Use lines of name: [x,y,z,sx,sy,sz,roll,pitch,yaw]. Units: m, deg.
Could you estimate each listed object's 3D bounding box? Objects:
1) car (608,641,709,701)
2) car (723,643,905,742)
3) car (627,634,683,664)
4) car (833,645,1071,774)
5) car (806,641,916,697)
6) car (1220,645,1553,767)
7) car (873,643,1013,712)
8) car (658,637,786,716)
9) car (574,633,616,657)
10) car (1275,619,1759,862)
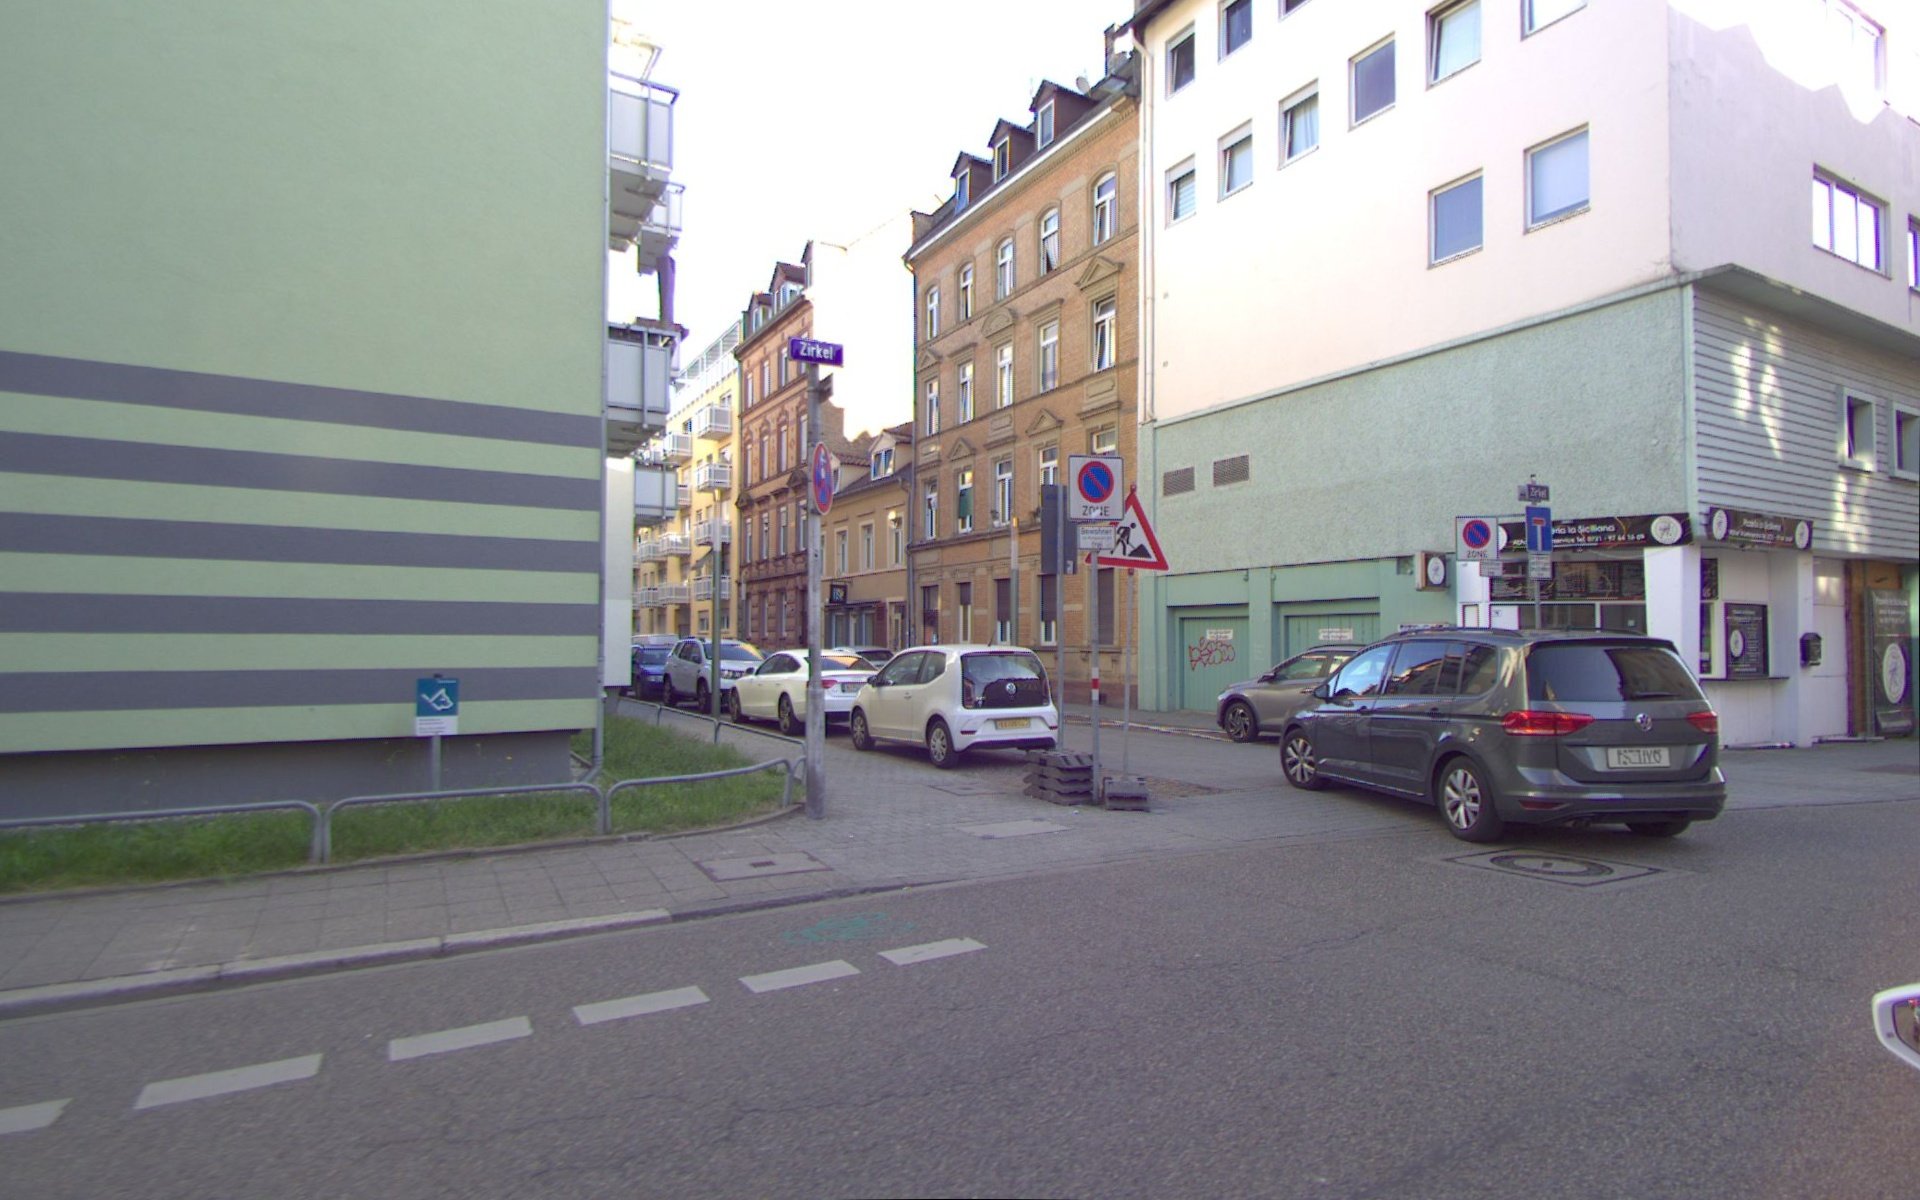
car: [-8.330,1.886,27.519,1.705,1.476,4.025,1,-2,-31]
car: [-2.716,1.526,17.807,1.791,1.462,4.338,1,-2,-29]
car: [-16.135,2.550,52.964,1.886,1.521,4.025,1,-2,-31]
car: [-0.240,1.347,13.489,1.791,1.461,3.486,1,-3,-29]
car: [-3.036,1.996,30.105,1.705,1.521,4.025,1,-2,-31]
car: [5.894,1.383,14.402,1.924,1.461,4.081,1,-3,-29]
car: [-0.505,1.838,24.858,1.705,1.521,4.025,1,-2,-31]
car: [-5.507,1.662,22.893,1.705,1.603,4.025,1,-2,-31]
car: [-24.533,2.981,67.406,1.886,1.521,4.025,1,-2,-31]
car: [4.449,1.027,8.848,1.735,1.628,3.997,1,-2,-7]
